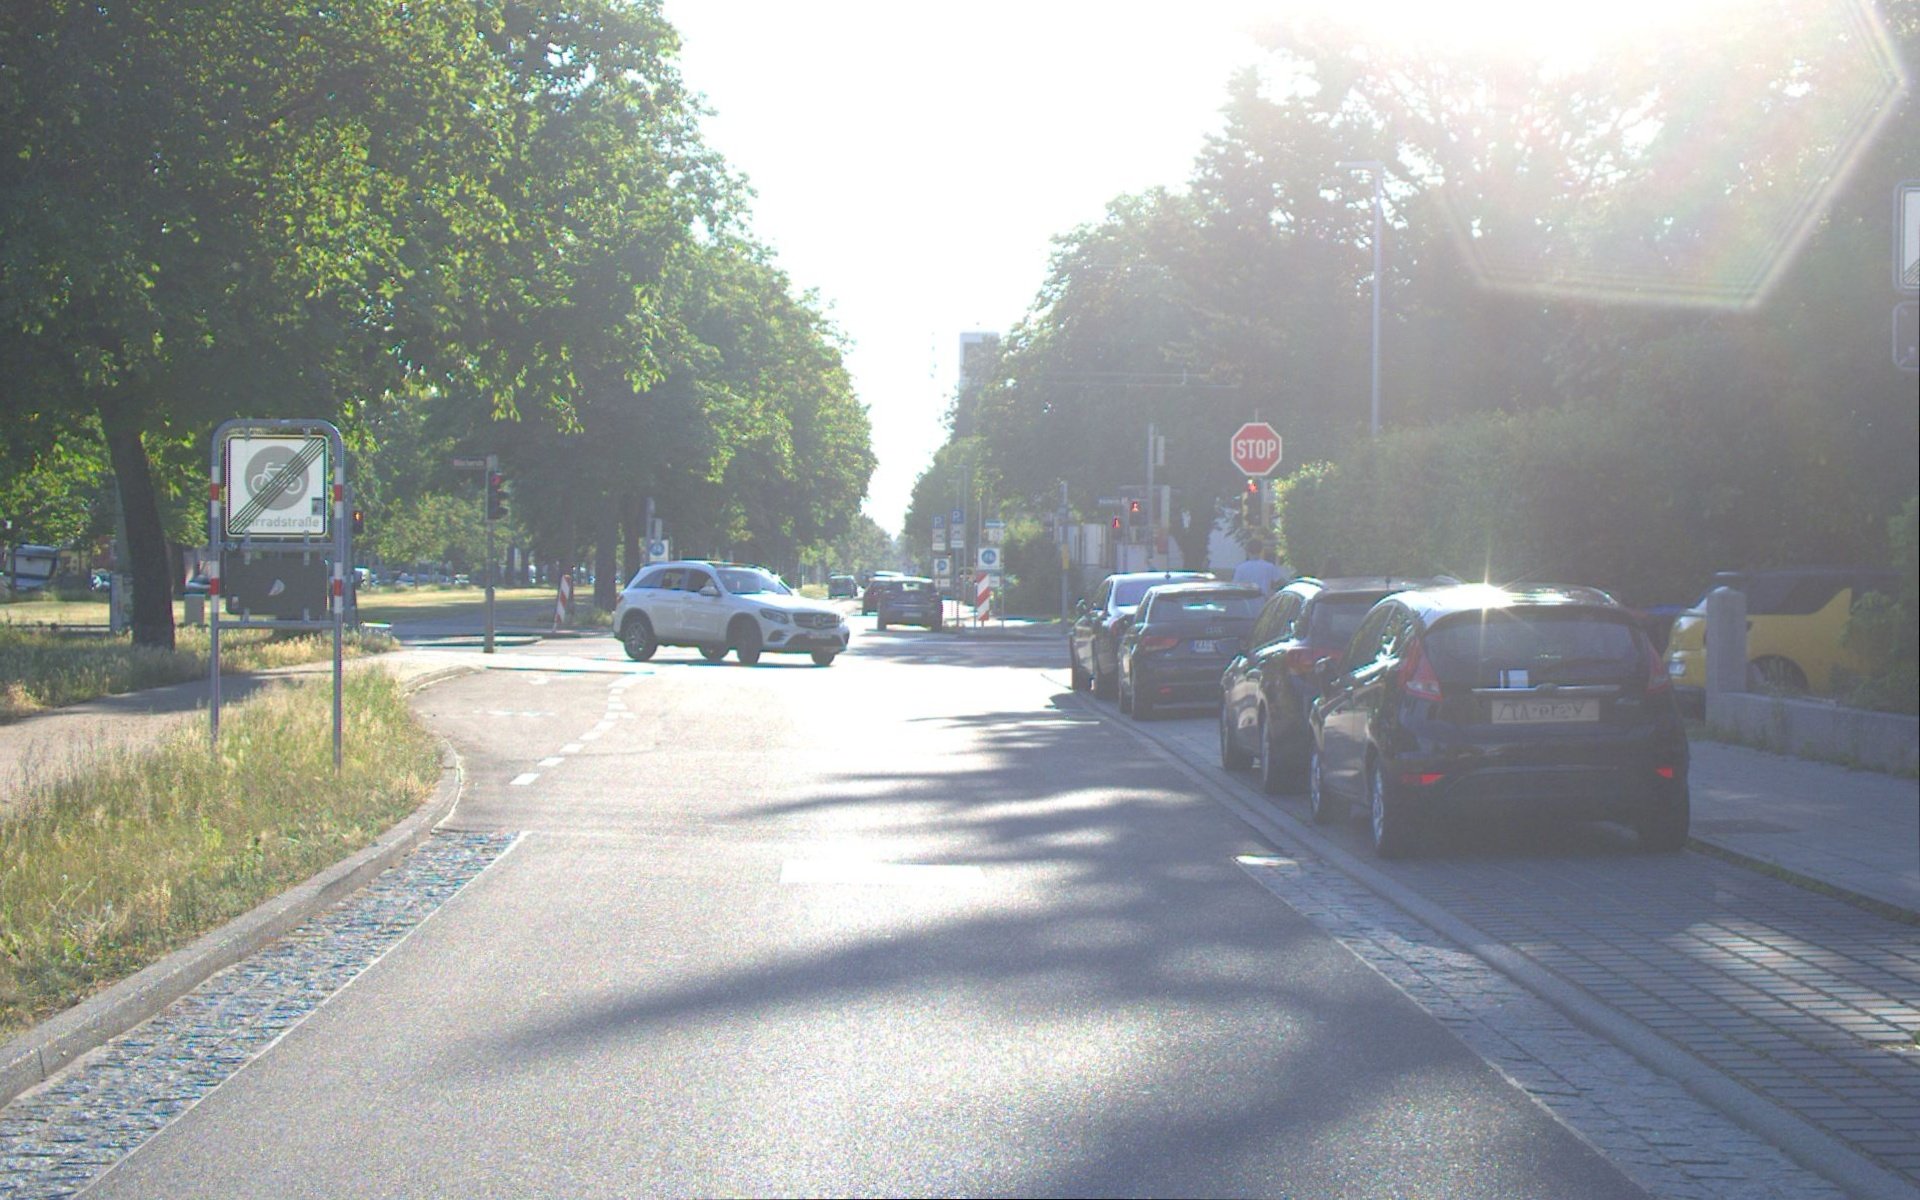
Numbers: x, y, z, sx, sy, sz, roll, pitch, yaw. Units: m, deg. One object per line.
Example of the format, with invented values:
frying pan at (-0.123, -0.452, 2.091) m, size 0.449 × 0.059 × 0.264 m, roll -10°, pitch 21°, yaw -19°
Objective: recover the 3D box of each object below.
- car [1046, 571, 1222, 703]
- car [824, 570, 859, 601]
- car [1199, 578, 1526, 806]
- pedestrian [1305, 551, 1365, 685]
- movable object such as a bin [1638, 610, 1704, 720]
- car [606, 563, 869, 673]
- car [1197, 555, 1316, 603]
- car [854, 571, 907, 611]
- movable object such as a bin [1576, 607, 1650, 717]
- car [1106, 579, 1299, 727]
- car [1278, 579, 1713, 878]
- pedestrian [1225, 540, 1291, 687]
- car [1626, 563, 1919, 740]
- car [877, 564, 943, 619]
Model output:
car at (2.112, 0.418, 42.914) m, size 1.859 × 1.537 × 4.873 m, roll 0°, pitch 1°, yaw -1°
car at (-7.829, -0.969, 226.951) m, size 2.134 × 2.007 × 3.901 m, roll 1°, pitch 1°, yaw 0°
car at (2.831, 0.602, 25.043) m, size 1.746 × 1.469 × 4.256 m, roll 0°, pitch 1°, yaw -2°
pedestrian at (4.823, 0.224, 44.228) m, size 0.669 × 1.702 × 0.623 m, roll 1°, pitch 0°, yaw -1°
movable object such as a bin at (6.863, 0.624, 33.204) m, size 0.507 × 1.039 × 0.417 m, roll 1°, pitch 1°, yaw -7°
car at (-3.757, 0.288, 57.539) m, size 4.422 × 1.671 × 1.892 m, roll 2°, pitch 1°, yaw 44°
car at (9.876, -0.705, 114.620) m, size 3.779 × 1.520 × 1.744 m, roll 1°, pitch 2°, yaw -1°
car at (-2.932, -0.356, 127.363) m, size 1.845 × 1.389 × 3.829 m, roll 1°, pitch 1°, yaw 0°
movable object such as a bin at (6.305, 0.595, 33.208) m, size 0.507 × 1.039 × 0.659 m, roll 1°, pitch 1°, yaw -7°
car at (2.511, 0.517, 36.395) m, size 1.641 × 1.423 × 3.937 m, roll -1°, pitch 1°, yaw -1°
car at (2.963, 0.655, 19.816) m, size 1.718 × 1.466 × 3.984 m, roll -2°, pitch 1°, yaw -2°
pedestrian at (3.832, 0.170, 44.272) m, size 0.670 × 1.859 × 0.882 m, roll 1°, pitch 0°, yaw -4°
car at (8.029, 0.434, 31.051) m, size 3.633 × 1.491 × 1.781 m, roll -1°, pitch 1°, yaw -1°
car at (-1.342, -0.252, 93.322) m, size 1.641 × 1.446 × 3.307 m, roll 1°, pitch 1°, yaw 1°
